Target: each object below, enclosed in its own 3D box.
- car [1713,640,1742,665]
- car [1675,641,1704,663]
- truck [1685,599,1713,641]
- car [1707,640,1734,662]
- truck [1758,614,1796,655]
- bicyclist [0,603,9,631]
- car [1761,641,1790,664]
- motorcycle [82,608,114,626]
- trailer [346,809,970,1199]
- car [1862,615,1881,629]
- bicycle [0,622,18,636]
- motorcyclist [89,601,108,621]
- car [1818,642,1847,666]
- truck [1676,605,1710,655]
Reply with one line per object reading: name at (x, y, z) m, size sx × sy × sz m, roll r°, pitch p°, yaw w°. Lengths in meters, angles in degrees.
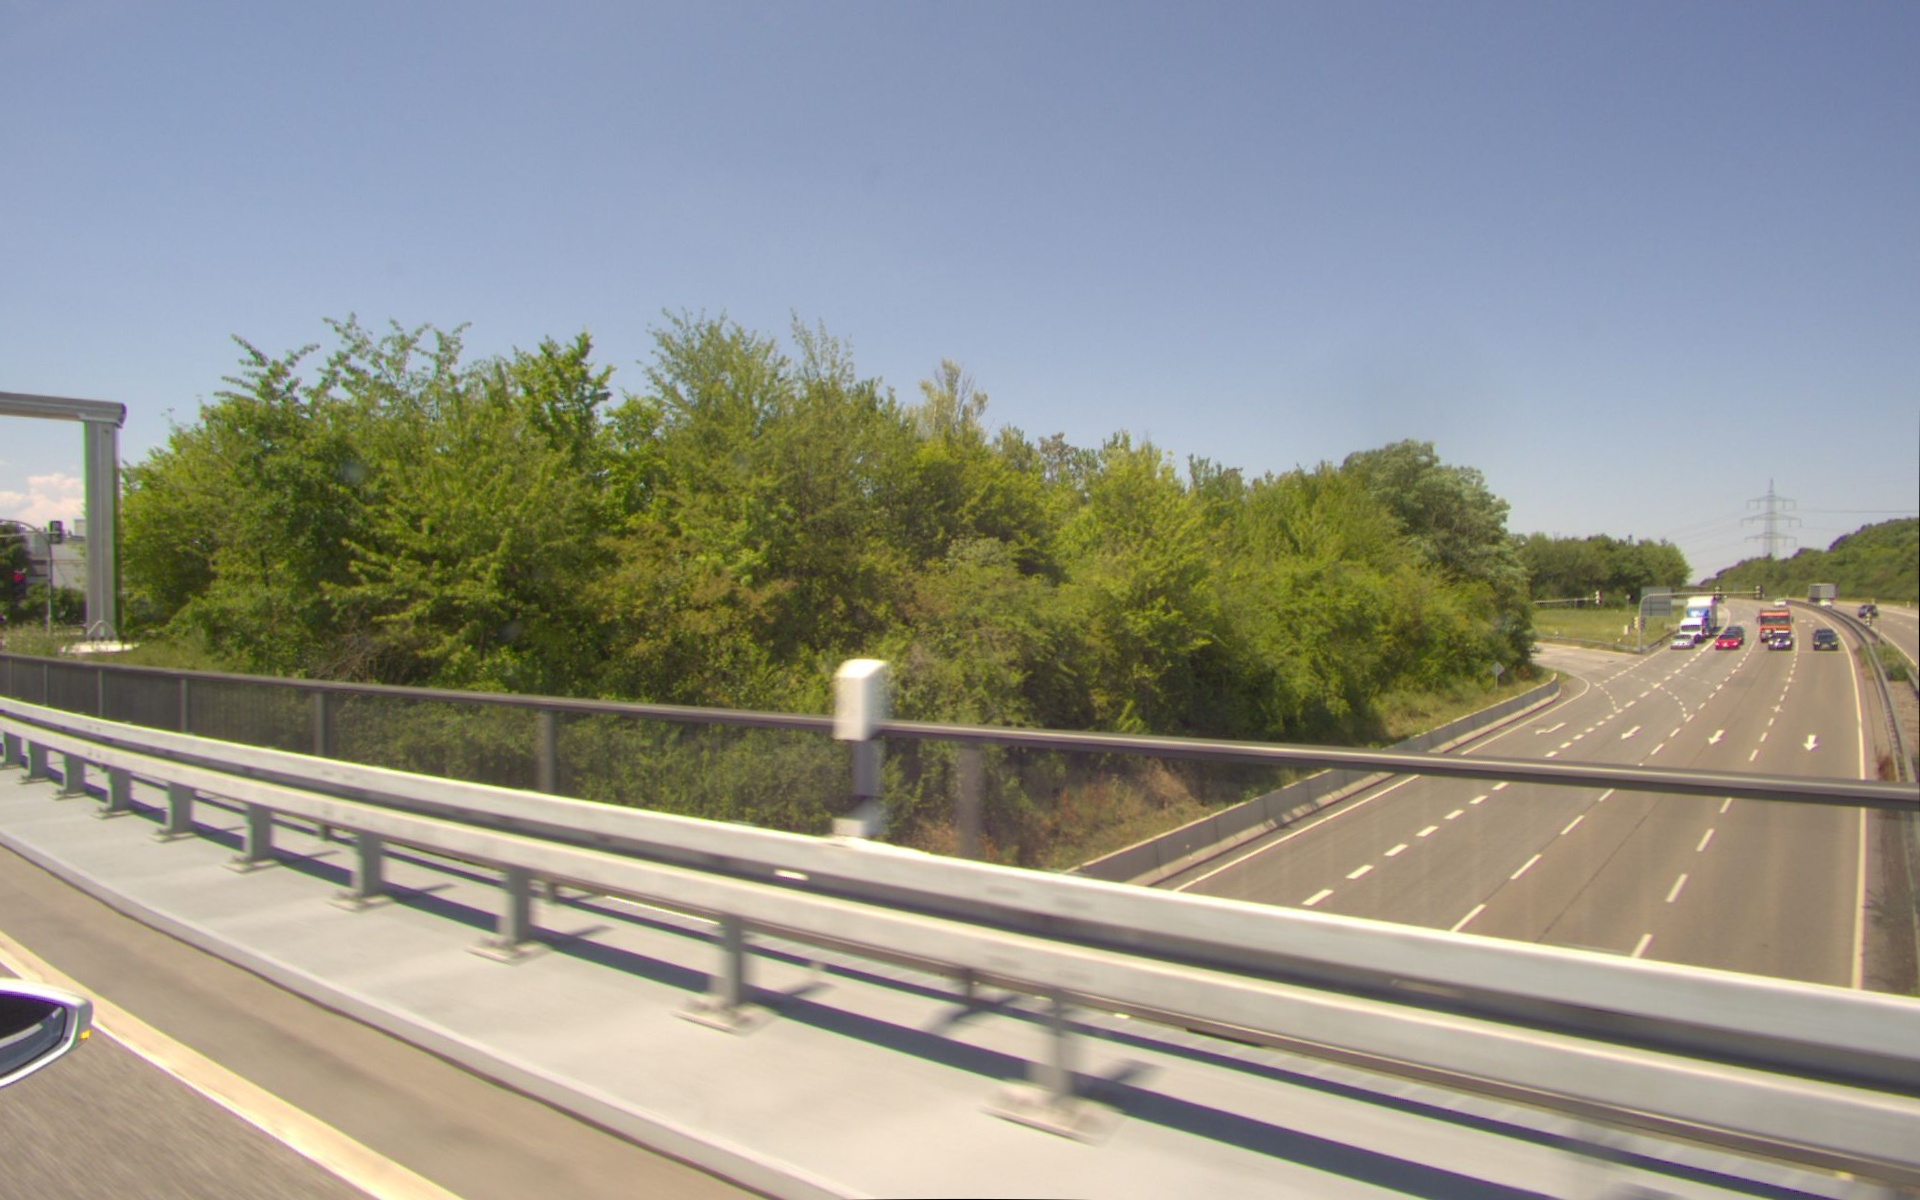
car at (74.832, 5.102, 97.598) m, size 1.961 × 2.238 × 3.968 m, roll -1°, pitch -1°, yaw 41°
car at (73.056, 5.171, 100.250) m, size 1.977 × 2.040 × 3.968 m, roll -1°, pitch -1°, yaw 41°
truck at (92.102, 2.447, 124.803) m, size 2.393 × 5.034 × 10.999 m, roll -1°, pitch -1°, yaw 38°
car at (78.276, 5.230, 103.057) m, size 1.977 × 2.040 × 3.968 m, roll -1°, pitch -1°, yaw 41°
truck at (85.343, 3.497, 104.586) m, size 2.683 × 4.063 × 8.808 m, roll -1°, pitch -1°, yaw 42°
bicyclist at (-59.373, 1.039, 61.878) m, size 0.522 × 1.739 × 0.730 m, roll 3°, pitch -1°, yaw -10°
car at (77.174, 4.933, 94.723) m, size 1.977 × 2.040 × 3.968 m, roll -1°, pitch -1°, yaw 41°
motorcycle at (-56.063, 1.110, 65.137) m, size 0.554 × 1.094 × 2.283 m, roll 0°, pitch -1°, yaw -12°
trailer at (-3.804, 6.025, 14.554) m, size 8.313 × 4.404 × 2.871 m, roll 0°, pitch -1°, yaw -45°
car at (133.456, 3.181, 146.676) m, size 1.977 × 2.040 × 3.967 m, roll -1°, pitch -1°, yaw 41°
bicycle at (-59.406, 1.793, 61.913) m, size 0.525 × 0.863 × 2.126 m, roll 3°, pitch -2°, yaw -10°
motorcyclist at (-56.079, 0.705, 65.185) m, size 0.664 × 1.320 × 0.723 m, roll -1°, pitch 0°, yaw -12°
car at (80.642, 4.933, 92.561) m, size 1.977 × 2.040 × 3.968 m, roll -1°, pitch -1°, yaw 41°
truck at (79.814, 3.163, 108.951) m, size 2.546 × 5.075 × 12.315 m, roll -1°, pitch -1°, yaw 38°
